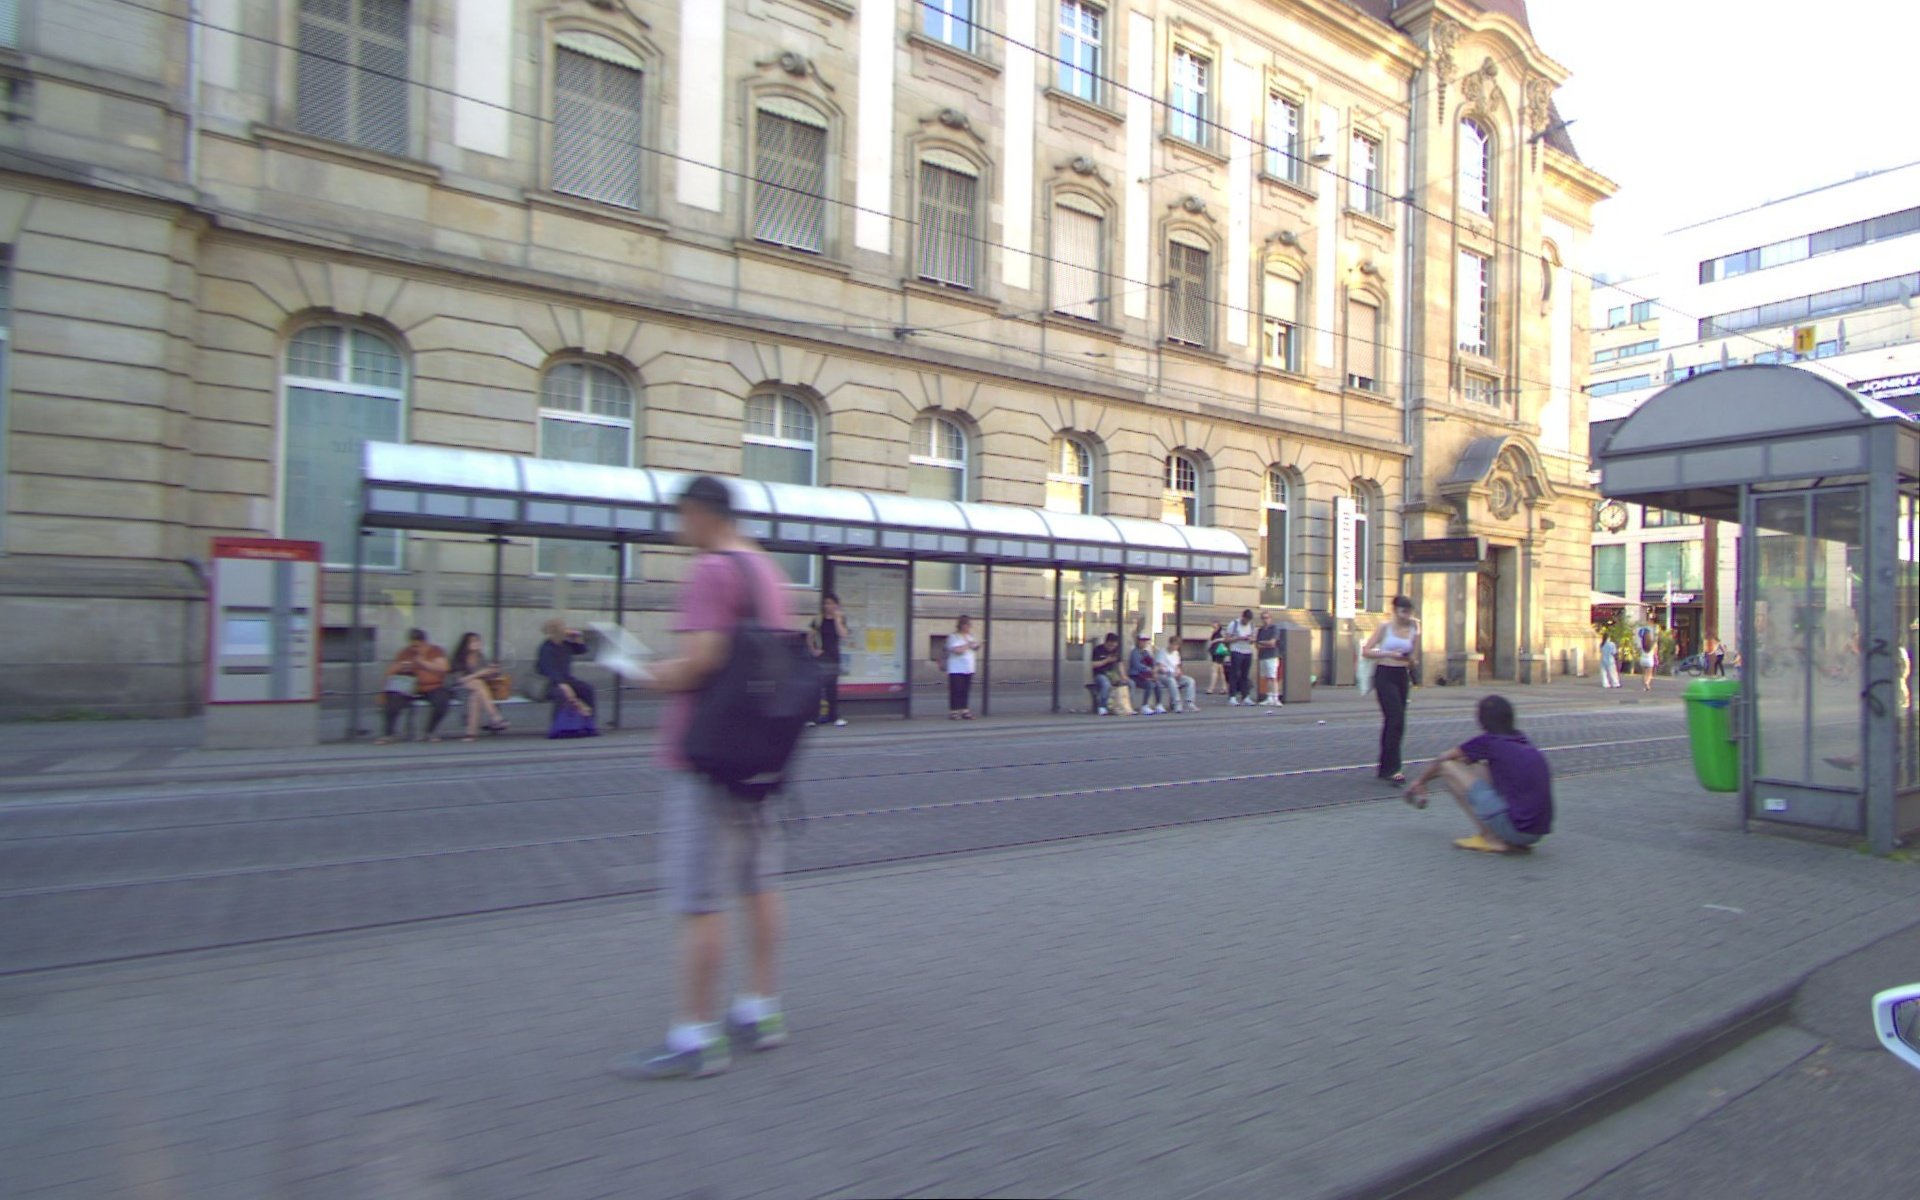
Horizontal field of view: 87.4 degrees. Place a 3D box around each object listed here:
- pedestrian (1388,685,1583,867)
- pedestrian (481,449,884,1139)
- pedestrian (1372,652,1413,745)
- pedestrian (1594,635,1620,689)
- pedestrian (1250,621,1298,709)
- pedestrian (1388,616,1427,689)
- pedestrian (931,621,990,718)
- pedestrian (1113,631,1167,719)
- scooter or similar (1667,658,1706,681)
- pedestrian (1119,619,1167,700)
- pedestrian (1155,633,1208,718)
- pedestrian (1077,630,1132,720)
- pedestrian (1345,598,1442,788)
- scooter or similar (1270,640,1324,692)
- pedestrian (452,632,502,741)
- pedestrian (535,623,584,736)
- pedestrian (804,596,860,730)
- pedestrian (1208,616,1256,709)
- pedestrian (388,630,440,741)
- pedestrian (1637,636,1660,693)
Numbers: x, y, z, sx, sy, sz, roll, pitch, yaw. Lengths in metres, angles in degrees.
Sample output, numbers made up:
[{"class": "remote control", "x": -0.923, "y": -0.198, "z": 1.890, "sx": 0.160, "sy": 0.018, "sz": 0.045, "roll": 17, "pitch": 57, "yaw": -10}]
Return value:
[{"class": "pedestrian", "x": 3.116, "y": 1.017, "z": 6.016, "sx": 0.680, "sy": 0.951, "sz": 0.799, "roll": 2, "pitch": -1, "yaw": -10}, {"class": "pedestrian", "x": -0.721, "y": 0.464, "z": 2.822, "sx": 0.843, "sy": 1.659, "sz": 0.688, "roll": 1, "pitch": -1, "yaw": 8}, {"class": "pedestrian", "x": 8.586, "y": 1.935, "z": 19.935, "sx": 0.464, "sy": 1.800, "sz": 0.555, "roll": 2, "pitch": -1, "yaw": -37}, {"class": "pedestrian", "x": 19.054, "y": 1.817, "z": 29.577, "sx": 0.516, "sy": 1.545, "sz": 0.495, "roll": 2, "pitch": -1, "yaw": -41}, {"class": "pedestrian", "x": 5.813, "y": 1.201, "z": 18.597, "sx": 0.630, "sy": 1.590, "sz": 0.515, "roll": 3, "pitch": -2, "yaw": -29}, {"class": "pedestrian", "x": 11.353, "y": 1.323, "z": 25.510, "sx": 0.699, "sy": 1.800, "sz": 0.616, "roll": 2, "pitch": -1, "yaw": -36}, {"class": "pedestrian", "x": 0.003, "y": 0.978, "z": 14.285, "sx": 0.630, "sy": 1.345, "sz": 0.515, "roll": 3, "pitch": -2, "yaw": -29}, {"class": "pedestrian", "x": 2.863, "y": 1.185, "z": 15.978, "sx": 0.630, "sy": 1.345, "sz": 0.515, "roll": 3, "pitch": -2, "yaw": -29}, {"class": "scooter or similar", "x": 30.771, "y": 2.921, "z": 42.537, "sx": 0.880, "sy": 0.916, "sz": 1.087, "roll": 2, "pitch": -2, "yaw": -32}, {"class": "pedestrian", "x": 3.830, "y": 1.241, "z": 21.018, "sx": 0.624, "sy": 1.636, "sz": 0.695, "roll": 2, "pitch": 0, "yaw": -34}, {"class": "pedestrian", "x": 3.619, "y": 1.222, "z": 16.393, "sx": 0.630, "sy": 1.345, "sz": 0.515, "roll": 3, "pitch": -2, "yaw": -29}, {"class": "pedestrian", "x": 2.231, "y": 1.153, "z": 15.556, "sx": 0.630, "sy": 1.345, "sz": 0.515, "roll": 3, "pitch": -2, "yaw": -29}, {"class": "pedestrian", "x": 4.093, "y": 0.859, "z": 9.517, "sx": 0.625, "sy": 1.713, "sz": 0.677, "roll": 2, "pitch": -1, "yaw": 4}, {"class": "scooter or similar", "x": 8.120, "y": 1.596, "z": 24.206, "sx": 1.278, "sy": 1.197, "sz": 0.484, "roll": 3, "pitch": -1, "yaw": -31}, {"class": "pedestrian", "x": -5.134, "y": 0.914, "z": 10.679, "sx": 0.424, "sy": 1.117, "sz": 0.363, "roll": 2, "pitch": -1, "yaw": -27}, {"class": "pedestrian", "x": -4.459, "y": 0.879, "z": 11.179, "sx": 0.424, "sy": 1.216, "sz": 0.363, "roll": 2, "pitch": -1, "yaw": -27}, {"class": "pedestrian", "x": -1.660, "y": 0.805, "z": 12.989, "sx": 0.626, "sy": 1.672, "sz": 0.518, "roll": 2, "pitch": -1, "yaw": -11}, {"class": "pedestrian", "x": 4.999, "y": 1.148, "z": 18.470, "sx": 0.630, "sy": 1.667, "sz": 0.515, "roll": 3, "pitch": -2, "yaw": -29}, {"class": "pedestrian", "x": -5.699, "y": 0.887, "z": 10.490, "sx": 0.424, "sy": 1.117, "sz": 0.363, "roll": 2, "pitch": -1, "yaw": -27}, {"class": "pedestrian", "x": 19.259, "y": 1.789, "z": 28.101, "sx": 0.518, "sy": 1.545, "sz": 0.501, "roll": 1, "pitch": -1, "yaw": 34}]
